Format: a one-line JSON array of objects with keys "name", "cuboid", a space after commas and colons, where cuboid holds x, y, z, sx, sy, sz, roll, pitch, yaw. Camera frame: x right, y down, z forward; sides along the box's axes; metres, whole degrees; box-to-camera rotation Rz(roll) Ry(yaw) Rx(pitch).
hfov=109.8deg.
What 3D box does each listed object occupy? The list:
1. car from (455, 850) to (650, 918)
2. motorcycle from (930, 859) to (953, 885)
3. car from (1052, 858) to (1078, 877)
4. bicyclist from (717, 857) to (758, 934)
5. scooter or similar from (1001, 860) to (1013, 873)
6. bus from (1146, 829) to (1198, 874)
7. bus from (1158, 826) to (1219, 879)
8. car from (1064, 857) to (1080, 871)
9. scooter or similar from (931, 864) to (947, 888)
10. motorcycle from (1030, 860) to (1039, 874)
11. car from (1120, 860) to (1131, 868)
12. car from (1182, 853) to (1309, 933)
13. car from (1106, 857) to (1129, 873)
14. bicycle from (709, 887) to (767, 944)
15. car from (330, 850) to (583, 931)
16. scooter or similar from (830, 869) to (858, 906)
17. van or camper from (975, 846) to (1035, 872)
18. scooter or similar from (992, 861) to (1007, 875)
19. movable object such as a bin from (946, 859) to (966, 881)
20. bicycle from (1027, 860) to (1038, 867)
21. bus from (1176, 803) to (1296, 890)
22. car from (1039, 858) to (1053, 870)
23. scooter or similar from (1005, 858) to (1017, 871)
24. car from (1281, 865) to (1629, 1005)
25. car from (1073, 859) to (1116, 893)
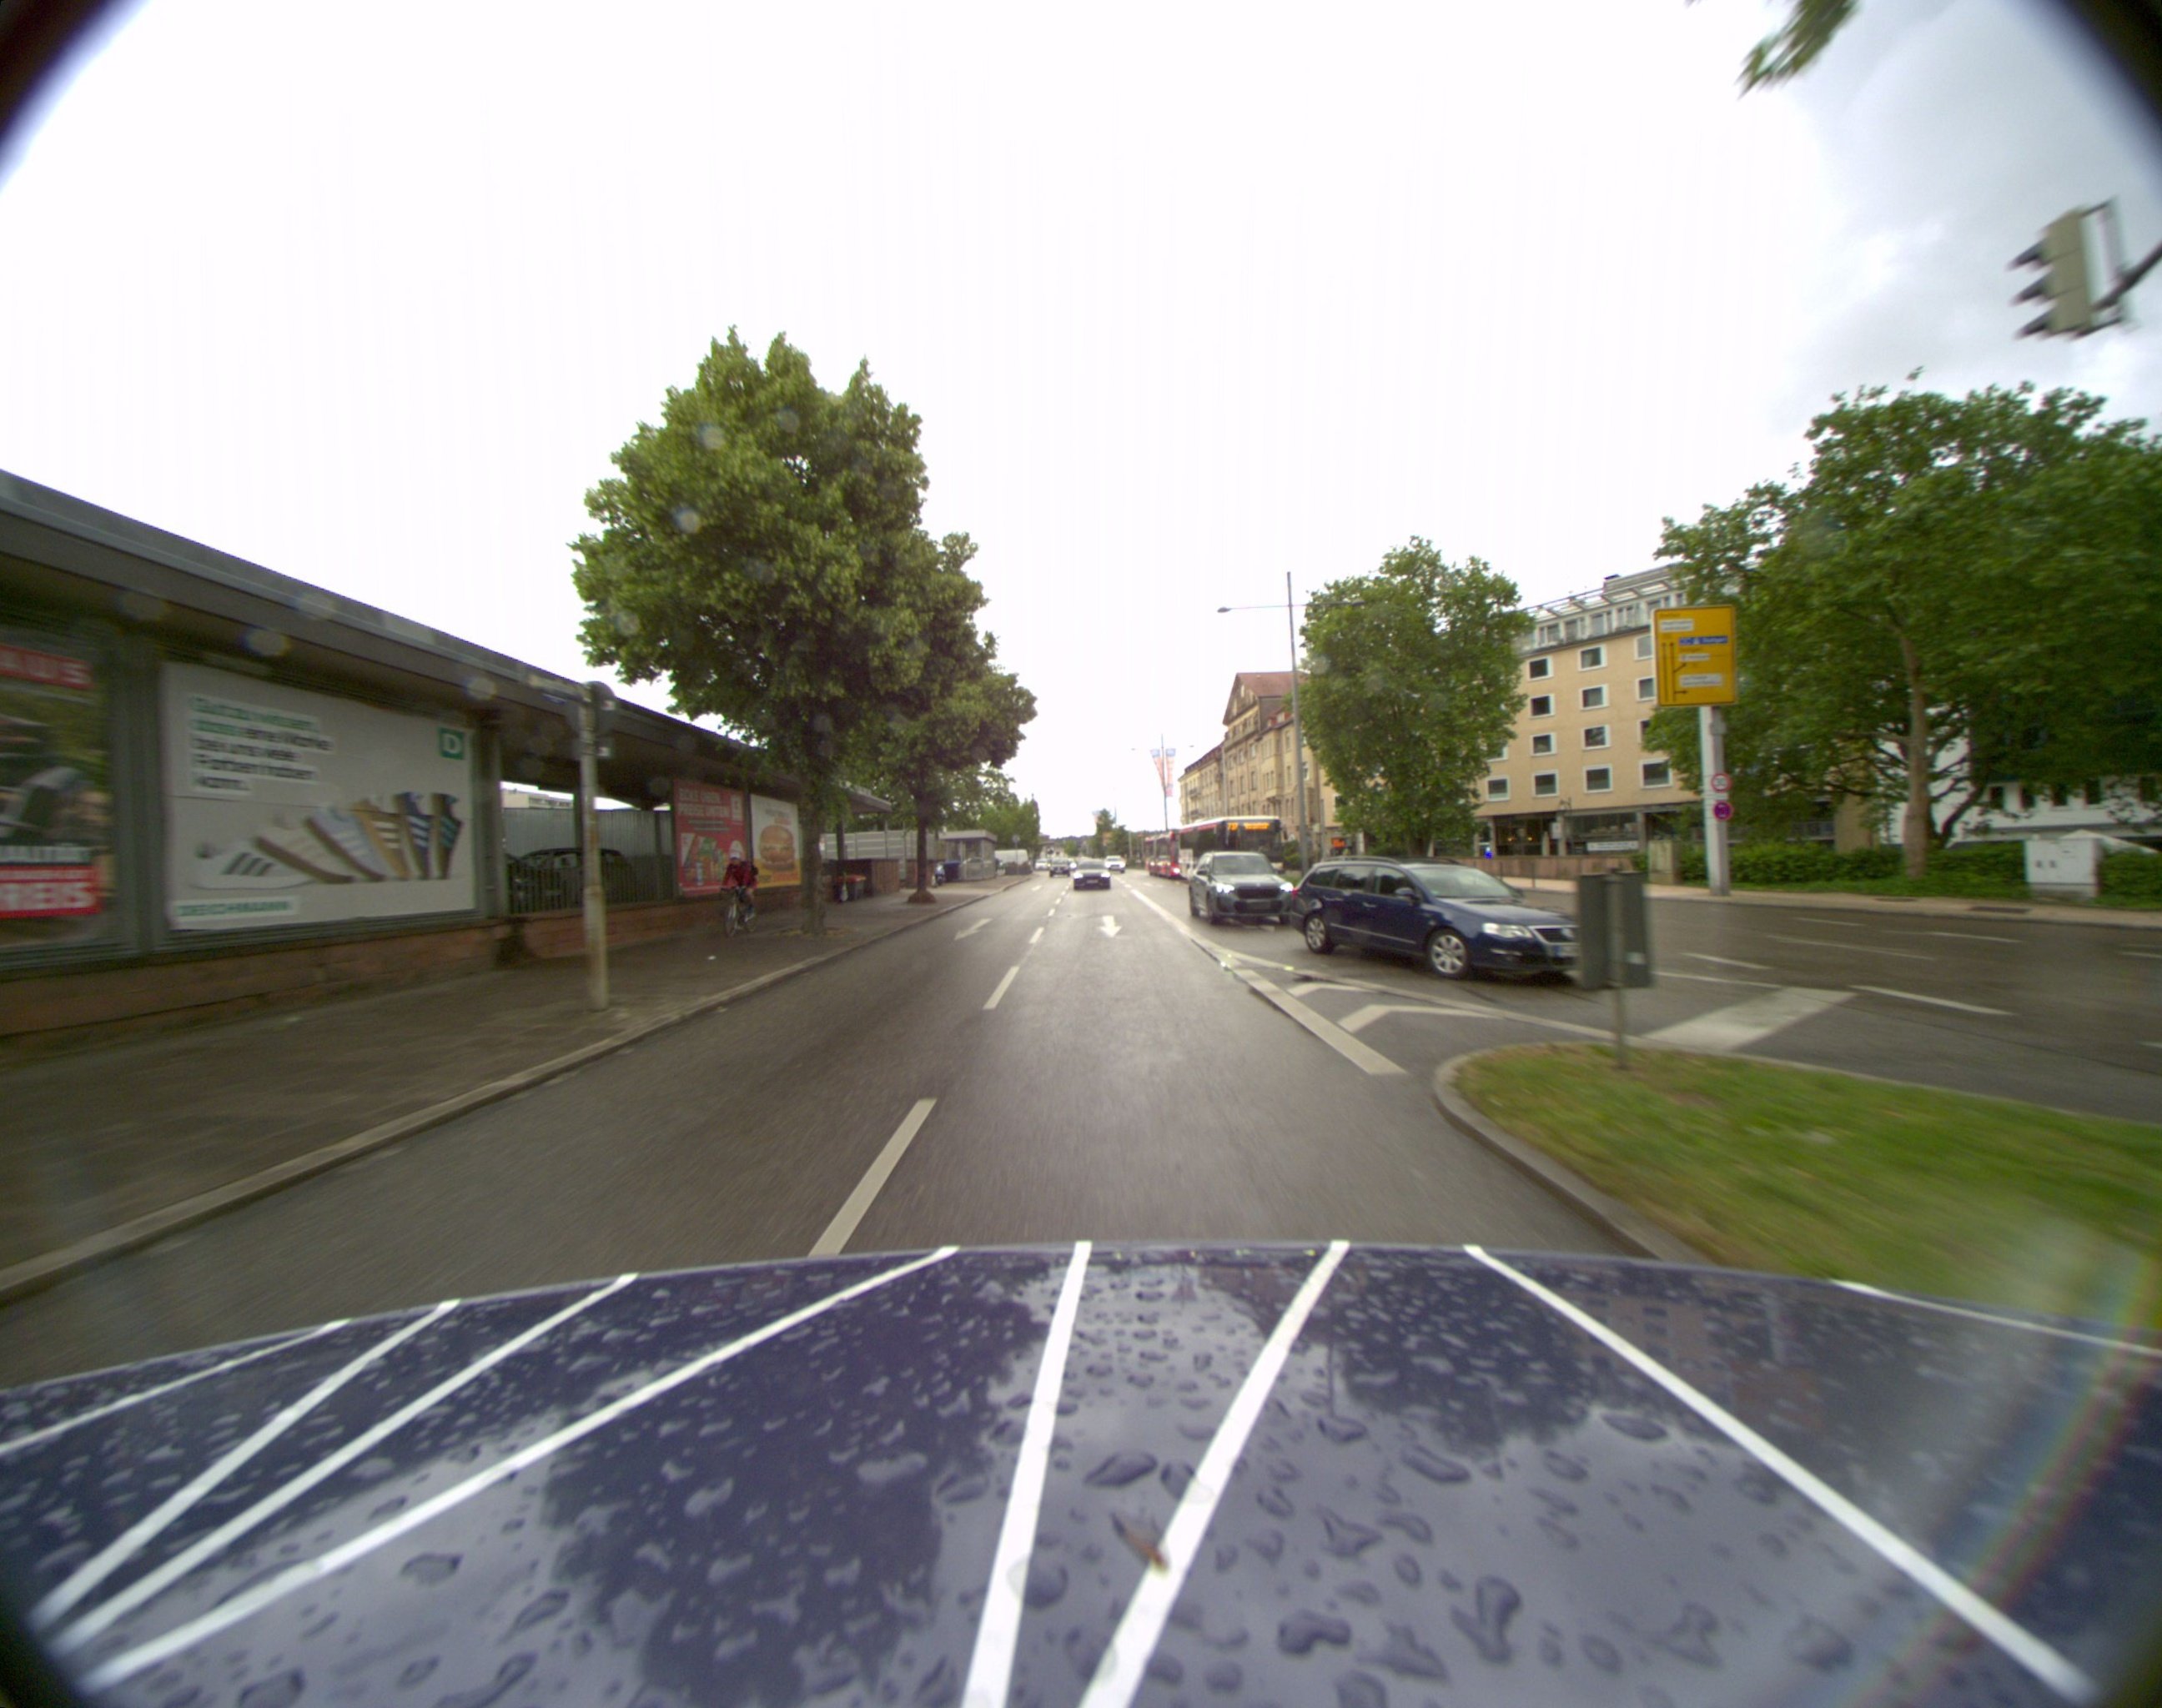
[{"name": "car", "cuboid": [-12.716, 0.702, 18.414, 3.565, 1.533, 1.747, -1, 0, 5]}, {"name": "motorcycle", "cuboid": [-7.474, 0.936, 40.760, 0.794, 1.340, 2.456, -1, 0, -2]}, {"name": "car", "cuboid": [-1.270, 1.067, 62.007, 1.871, 1.466, 3.826, -1, 0, 2]}, {"name": "bicyclist", "cuboid": [-6.958, 0.820, 15.418, 0.535, 1.529, 0.694, 0, 1, -2]}, {"name": "scooter or similar", "cuboid": [-6.723, 1.116, 69.051, 0.413, 1.148, 1.265, -4, 0, 31]}, {"name": "bus", "cuboid": [6.920, -0.184, 59.332, 2.817, 3.227, 9.911, 0, 0, 0]}, {"name": "bus", "cuboid": [6.901, -0.119, 50.033, 2.759, 3.114, 8.842, -1, 0, 0]}, {"name": "car", "cuboid": [-0.986, 1.045, 81.608, 1.619, 1.477, 3.669, -1, 0, -1]}, {"name": "scooter or similar", "cuboid": [-7.215, 1.087, 38.572, 0.495, 1.146, 1.712, -2, 1, -20]}, {"name": "motorcycle", "cuboid": [-4.402, 1.214, 71.639, 0.645, 1.344, 2.109, -1, 0, 1]}, {"name": "car", "cuboid": [8.742, 1.917, 149.681, 1.795, 1.398, 4.983, -1, 0, -3]}, {"name": "car", "cuboid": [3.752, 0.823, 18.110, 1.969, 1.630, 4.358, -1, 0, -1]}, {"name": "car", "cuboid": [3.438, 1.029, 72.216, 1.983, 1.438, 3.908, -1, 0, 1]}, {"name": "bicycle", "cuboid": [-6.932, 1.226, 15.433, 0.447, 1.010, 1.677, 1, 0, -2]}, {"name": "car", "cuboid": [-12.651, 0.705, 15.586, 3.692, 1.533, 1.746, -1, 0, -2]}, {"name": "scooter or similar", "cuboid": [-7.991, 1.111, 25.702, 0.494, 1.146, 1.545, -1, 1, -2]}, {"name": "van or camper", "cuboid": [-8.889, 0.541, 88.800, 6.541, 2.852, 2.275, -1, 0, -30]}, {"name": "scooter or similar", "cuboid": [-7.324, 1.229, 68.490, 1.067, 1.148, 1.667, -2, 1, 1]}, {"name": "movable object such as a bin", "cuboid": [-7.811, 0.979, 47.690, 1.036, 1.330, 1.317, -1, 0, -2]}, {"name": "bicycle", "cuboid": [-7.702, 1.543, 119.857, 1.723, 1.040, 0.524, -1, 0, -34]}, {"name": "bus", "cuboid": [7.002, -0.298, 36.716, 2.963, 3.419, 12.557, -1, 0, -1]}, {"name": "car", "cuboid": [-4.598, 1.270, 100.332, 1.661, 1.466, 3.589, -1, 0, 2]}, {"name": "scooter or similar", "cuboid": [-6.350, 0.986, 68.820, 0.413, 1.148, 1.265, 0, 1, 31]}, {"name": "car", "cuboid": [4.733, 0.900, 10.488, 1.822, 1.401, 4.408, -1, 0, -16]}, {"name": "car", "cuboid": [0.686, 1.001, 36.155, 1.871, 1.466, 3.826, -1, 0, 2]}]
